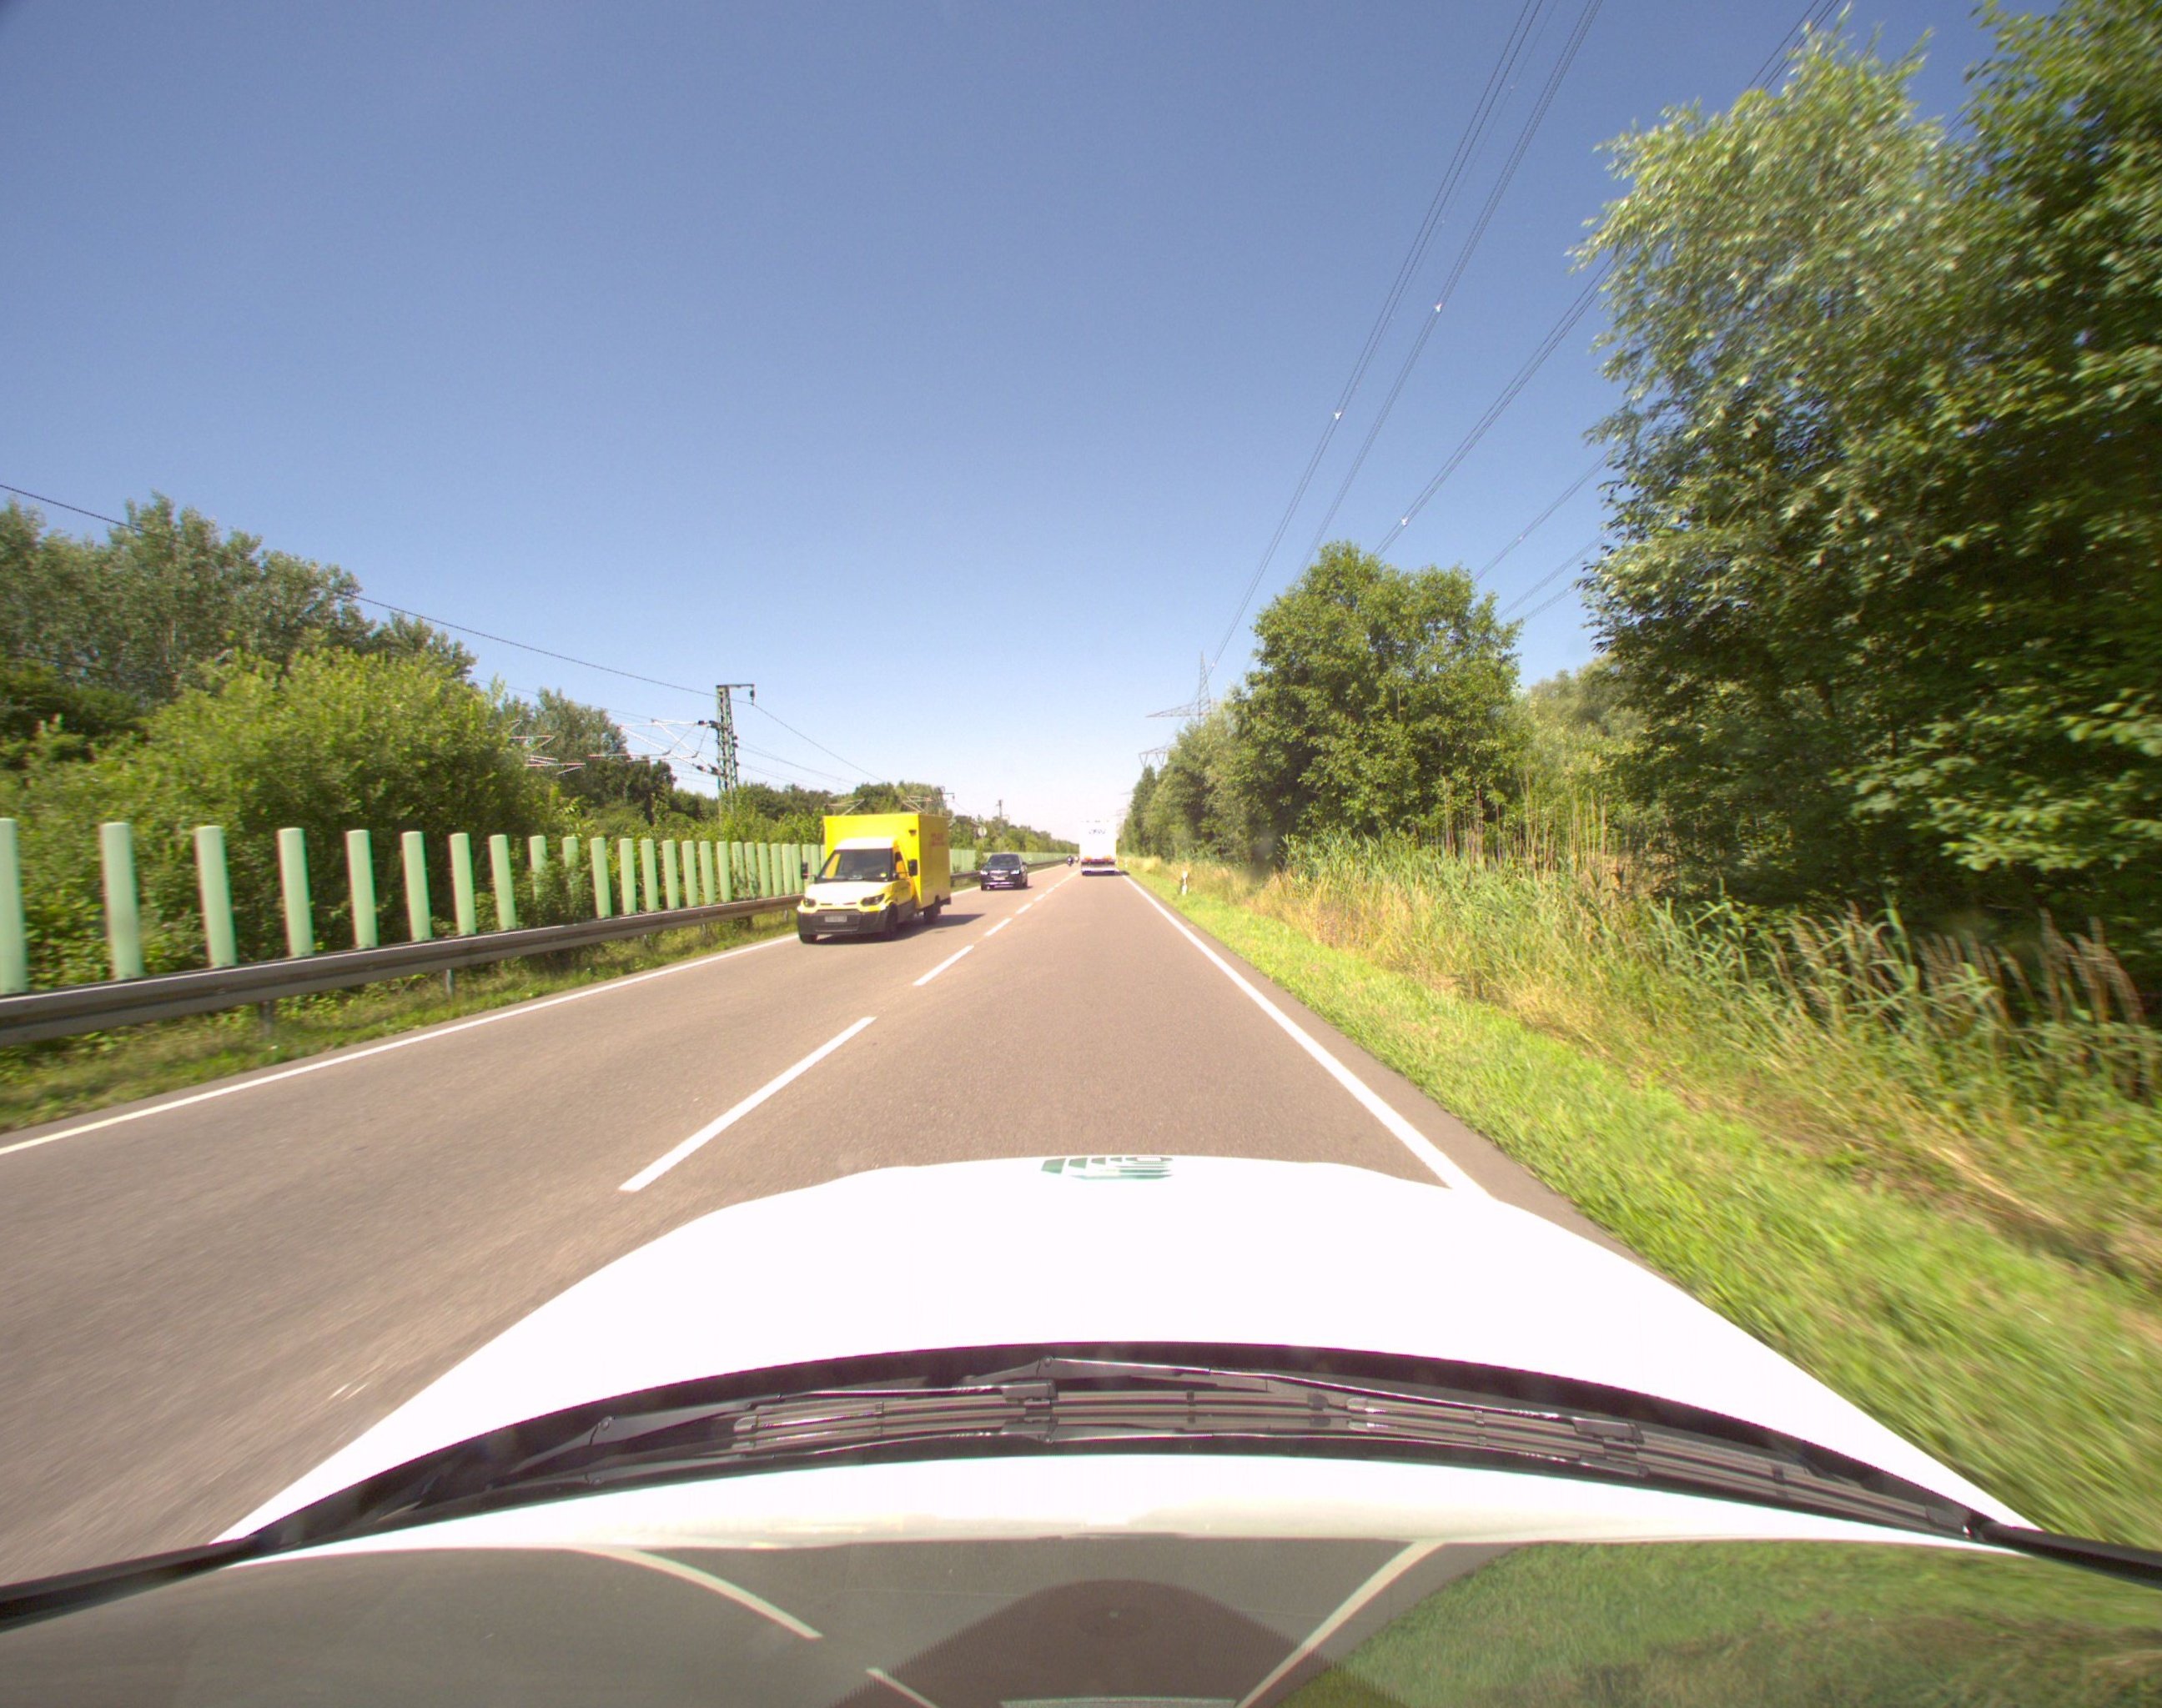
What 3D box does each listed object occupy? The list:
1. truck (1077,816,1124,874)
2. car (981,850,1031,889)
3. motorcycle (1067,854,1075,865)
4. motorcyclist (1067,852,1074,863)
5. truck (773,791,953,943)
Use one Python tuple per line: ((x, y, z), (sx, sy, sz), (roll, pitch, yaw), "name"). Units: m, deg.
((1.453, -0.640, 63.397), (3.181, 4.042, 12.008), (-1, 0, 1), "truck")
((-3.468, 0.698, 38.522), (1.808, 1.694, 4.707), (-1, 0, 1), "car")
((-1.386, 0.738, 112.044), (0.964, 1.496, 2.631), (0, 0, 3), "motorcycle")
((-1.404, 0.489, 111.686), (0.955, 1.609, 1.003), (0, -1, 2), "motorcyclist")
((-4.347, 0.228, 17.398), (2.072, 2.646, 5.707), (-2, 0, 2), "truck")
